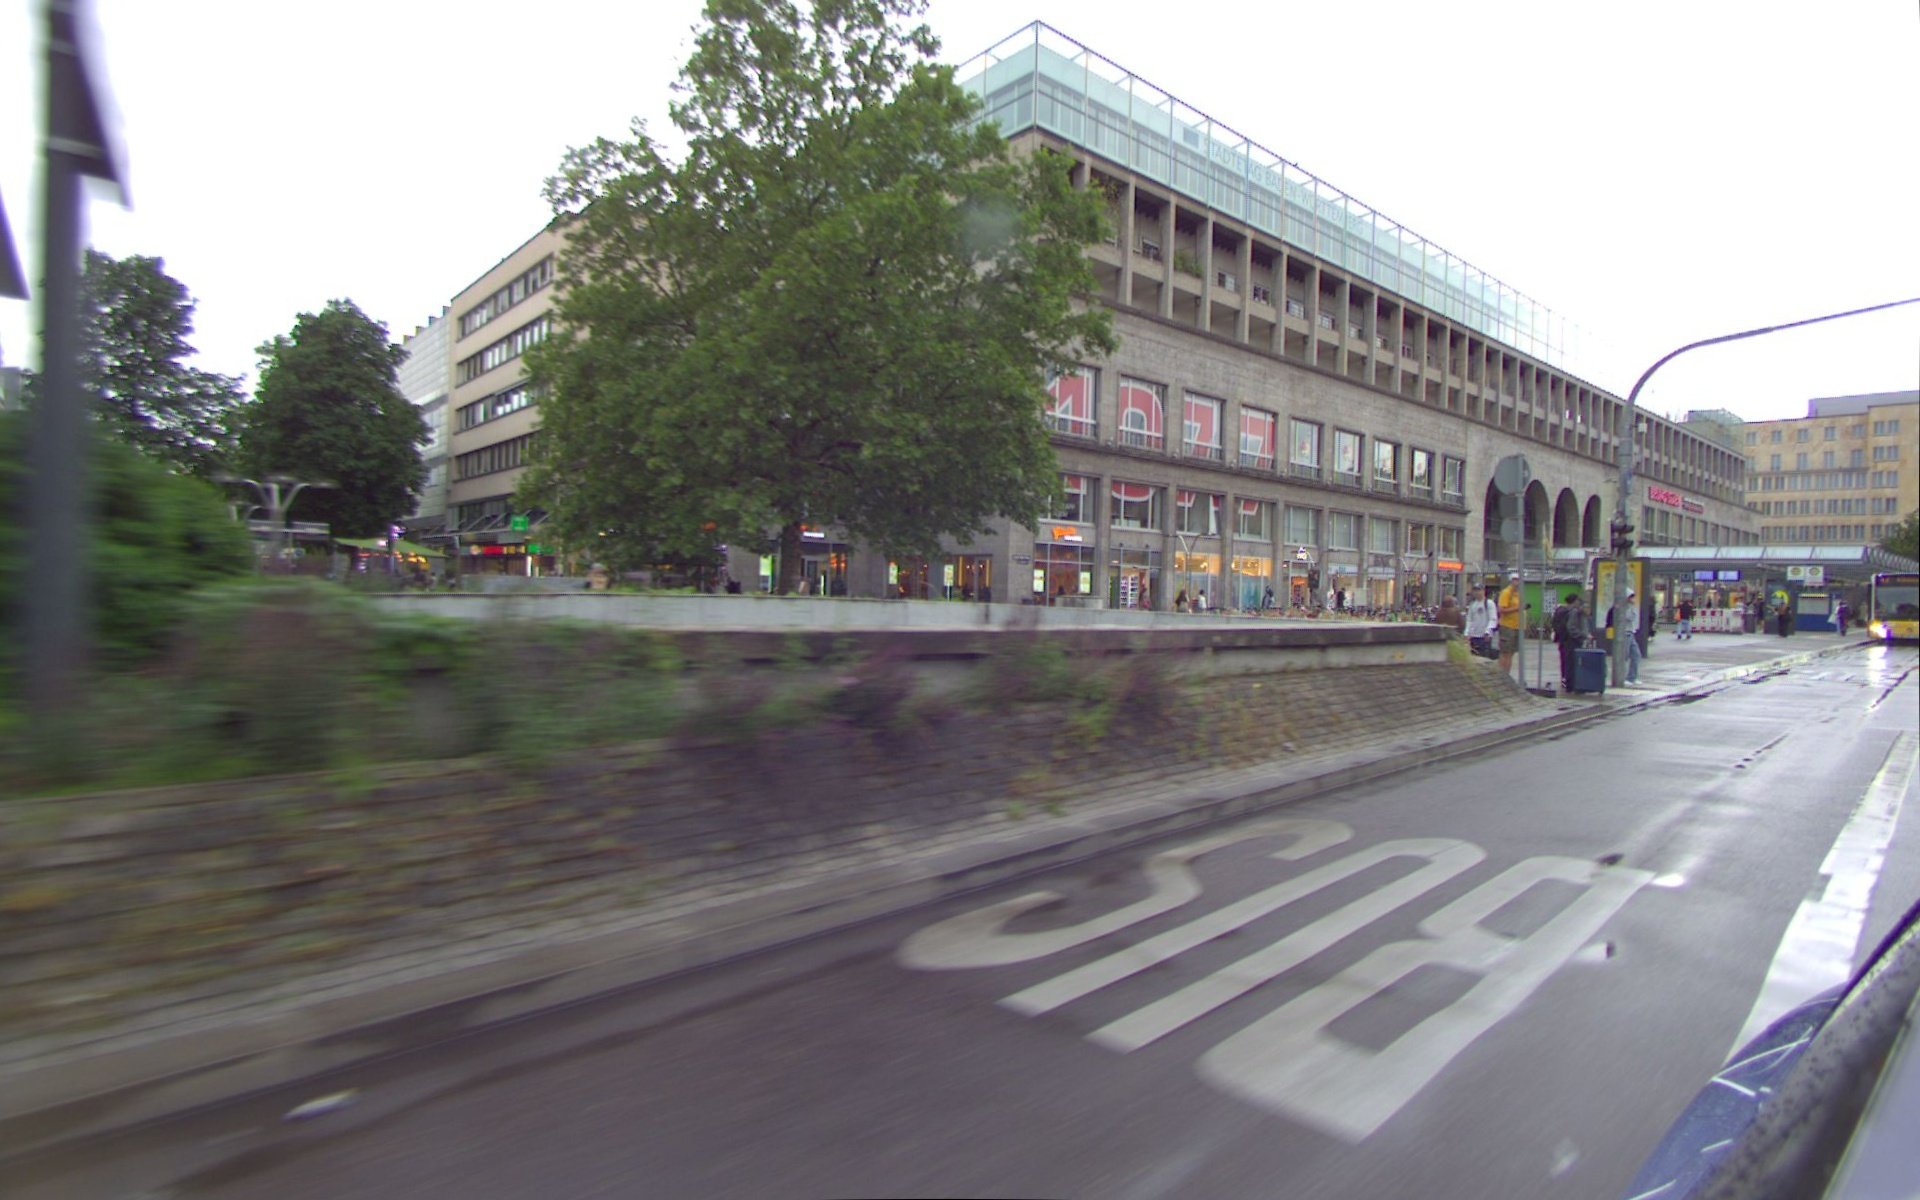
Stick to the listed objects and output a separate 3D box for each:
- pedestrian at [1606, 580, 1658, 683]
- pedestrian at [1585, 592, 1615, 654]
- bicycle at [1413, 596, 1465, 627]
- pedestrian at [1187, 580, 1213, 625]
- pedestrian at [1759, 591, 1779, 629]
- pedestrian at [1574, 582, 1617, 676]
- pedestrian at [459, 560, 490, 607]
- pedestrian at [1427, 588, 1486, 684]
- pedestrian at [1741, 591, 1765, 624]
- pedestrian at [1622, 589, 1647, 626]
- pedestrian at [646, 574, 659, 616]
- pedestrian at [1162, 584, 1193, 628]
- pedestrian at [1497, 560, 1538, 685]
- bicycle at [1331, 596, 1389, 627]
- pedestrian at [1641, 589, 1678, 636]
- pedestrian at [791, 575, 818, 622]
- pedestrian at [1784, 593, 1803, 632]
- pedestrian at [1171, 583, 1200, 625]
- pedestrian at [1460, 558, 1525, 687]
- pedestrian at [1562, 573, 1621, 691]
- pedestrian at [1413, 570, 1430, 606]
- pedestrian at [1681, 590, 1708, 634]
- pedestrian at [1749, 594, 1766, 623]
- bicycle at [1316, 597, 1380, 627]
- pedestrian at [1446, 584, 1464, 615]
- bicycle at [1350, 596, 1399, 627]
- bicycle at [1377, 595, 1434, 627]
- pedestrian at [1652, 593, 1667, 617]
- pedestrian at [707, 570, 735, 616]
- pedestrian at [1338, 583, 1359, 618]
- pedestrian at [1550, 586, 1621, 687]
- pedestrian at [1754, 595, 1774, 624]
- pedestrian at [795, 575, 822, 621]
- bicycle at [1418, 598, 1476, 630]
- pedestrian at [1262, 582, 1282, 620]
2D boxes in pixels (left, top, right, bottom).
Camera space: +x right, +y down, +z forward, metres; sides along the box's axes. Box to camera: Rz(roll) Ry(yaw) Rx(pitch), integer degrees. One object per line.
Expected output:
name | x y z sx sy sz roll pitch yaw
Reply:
pedestrian | 12.259 0.555 18.471 0.742 1.827 0.701 1 1 33
pedestrian | 20.639 0.728 32.641 0.705 1.957 0.778 1 1 38
bicycle | 20.624 0.484 43.595 0.605 1.252 1.998 1 2 -31
pedestrian | 8.761 0.076 36.956 0.604 1.621 0.647 -1 3 -36
pedestrian | 42.398 0.492 53.042 0.791 1.953 0.696 1 1 38
pedestrian | 12.651 0.558 20.155 0.534 1.827 0.753 1 1 20
pedestrian | -21.333 -0.706 44.464 0.979 2.039 0.842 0 0 32
pedestrian | 8.426 0.593 17.186 0.621 1.574 0.659 0 0 -29
pedestrian | 45.577 0.433 58.203 0.779 1.827 0.986 1 1 20
pedestrian | 33.730 0.380 50.623 0.741 1.815 0.736 1 1 -27
pedestrian | -12.311 -0.207 40.475 0.450 1.659 0.443 0 0 -24
pedestrian | 8.438 0.239 39.314 0.871 1.695 0.795 0 0 -34
pedestrian | 9.966 0.387 18.086 0.552 2.172 0.660 1 1 33
bicycle | 15.734 0.441 39.859 1.969 1.123 0.815 3 2 34
pedestrian | 25.011 0.439 36.167 0.773 1.662 0.789 1 1 -27
pedestrian | -5.693 -0.069 37.018 0.760 1.689 0.708 0 0 19
pedestrian | 35.948 0.528 43.634 0.591 1.639 0.505 0 0 38
pedestrian | 8.355 0.152 37.524 0.767 1.542 0.672 1 1 -31
pedestrian | 9.237 0.368 17.570 0.707 2.172 0.711 0 1 -30
pedestrian | 10.399 0.497 16.663 0.783 1.861 0.939 1 1 33
pedestrian | 25.434 -0.677 55.811 0.780 1.953 0.649 1 1 24
pedestrian | 27.824 0.442 38.338 0.491 1.639 0.654 1 1 -27
pedestrian | 52.053 0.529 66.053 0.579 1.898 0.598 1 0 -8
bicycle | 15.051 0.458 39.244 2.216 1.123 0.734 0 0 33
pedestrian | 29.642 -0.036 60.577 0.775 1.814 0.732 0 1 -42
bicycle | 16.497 0.435 40.280 1.684 1.123 0.666 3 2 34
bicycle | 18.241 0.444 41.461 2.066 1.153 0.883 3 2 23
pedestrian | 50.133 0.348 72.521 0.791 1.639 0.859 1 1 38
pedestrian | -9.608 -0.297 40.727 0.854 1.785 0.702 2 2 18
pedestrian | 19.498 0.024 50.854 0.763 1.718 0.722 0 0 -43
pedestrian | 11.043 0.621 17.865 0.745 1.712 0.876 1 0 -42
pedestrian | 47.974 0.540 60.407 0.885 1.716 0.750 1 0 -38
pedestrian | -5.655 -0.074 37.807 0.760 1.689 0.708 0 0 19
bicycle | 20.275 0.591 42.169 2.144 1.253 0.619 2 2 -7
pedestrian | 14.237 0.027 46.161 0.696 1.710 0.598 0 1 -42
